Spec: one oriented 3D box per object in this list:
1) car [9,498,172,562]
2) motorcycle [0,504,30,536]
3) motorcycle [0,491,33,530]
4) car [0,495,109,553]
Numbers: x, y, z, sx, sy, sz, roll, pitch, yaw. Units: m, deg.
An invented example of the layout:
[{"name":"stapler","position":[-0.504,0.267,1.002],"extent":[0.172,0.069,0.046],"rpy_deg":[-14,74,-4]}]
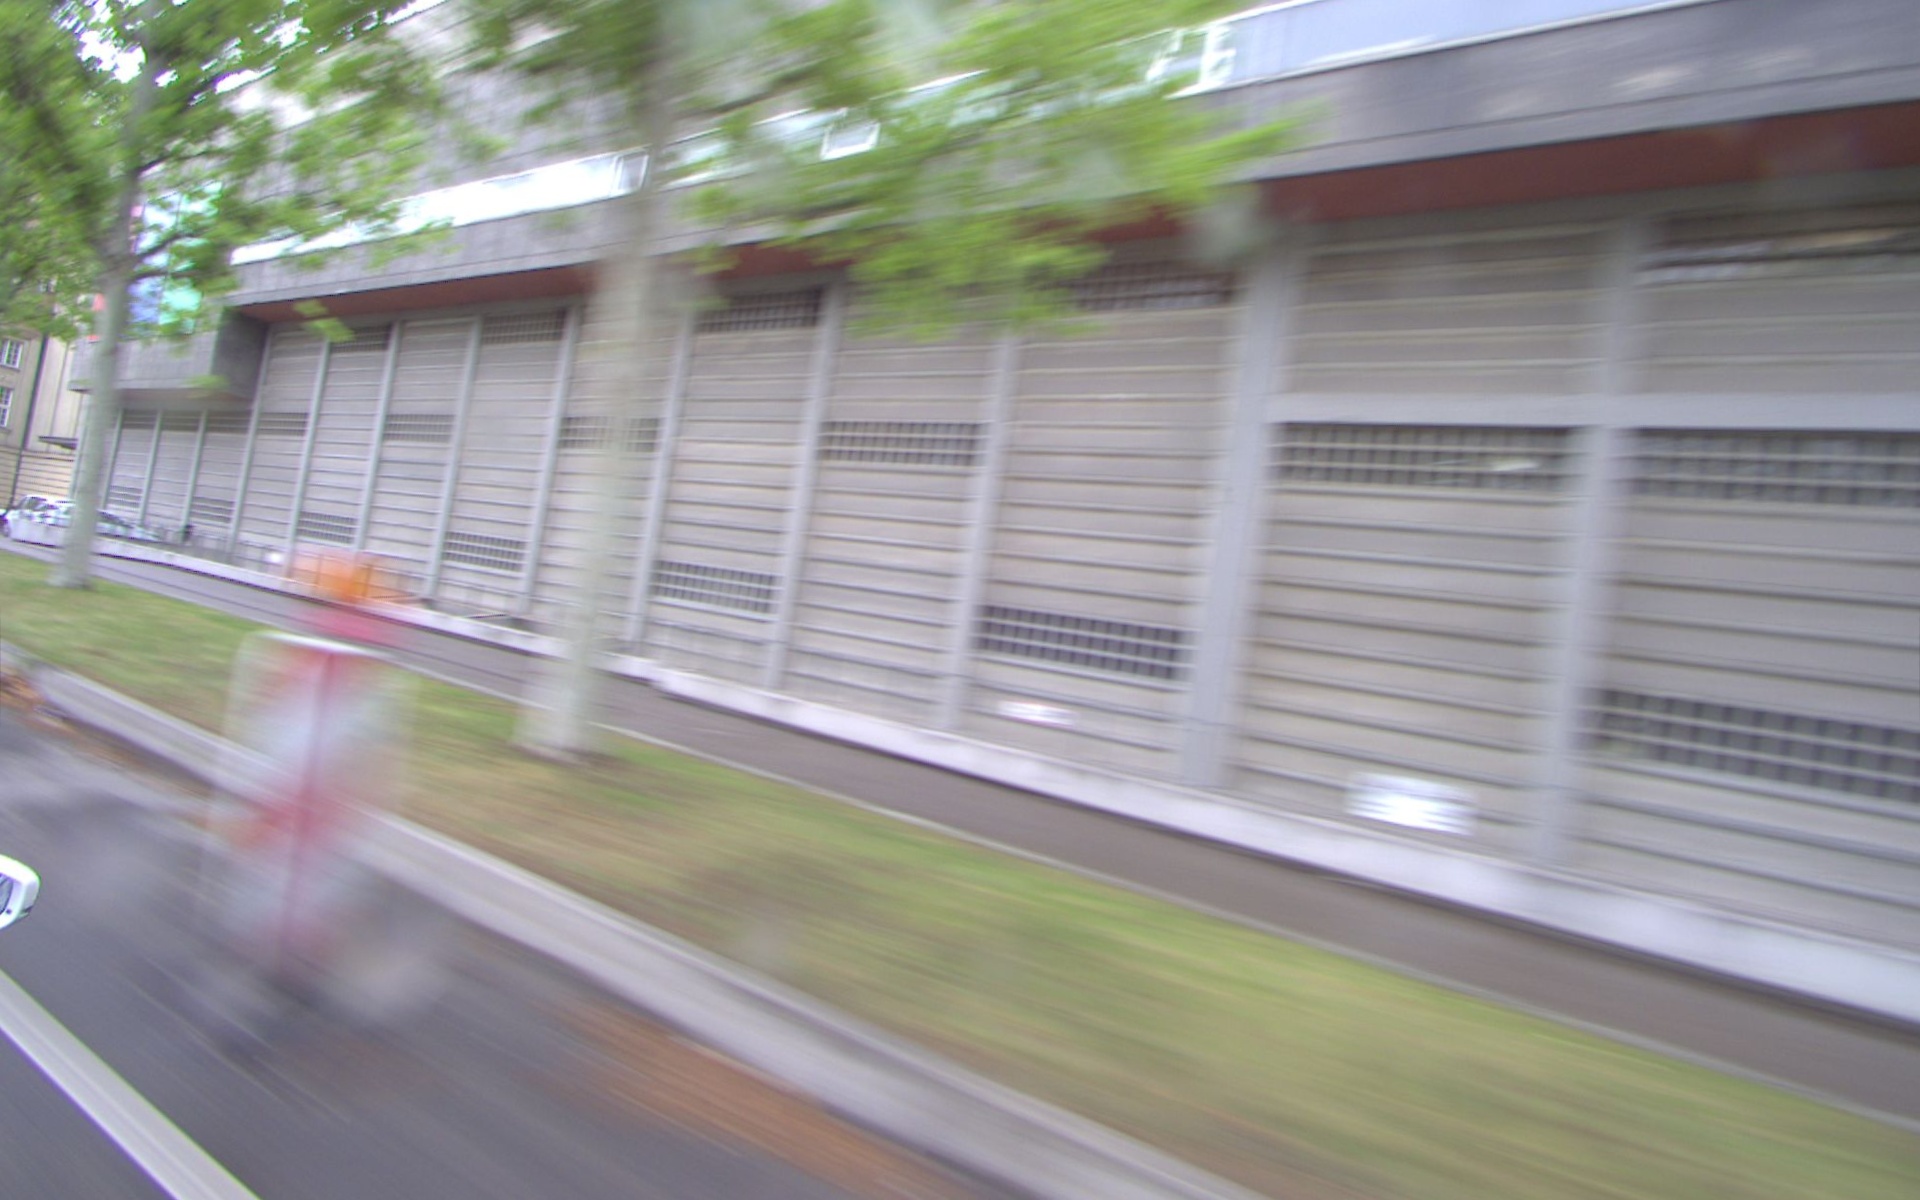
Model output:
[{"name":"car","position":[-31.540,-2.508,36.601],"extent":[1.902,1.576,3.997],"rpy_deg":[5,-4,32]},{"name":"motorcycle","position":[-55.649,-4.859,57.471],"extent":[1.133,1.545,3.363],"rpy_deg":[6,-7,33]},{"name":"motorcycle","position":[-57.199,-5.469,59.300],"extent":[1.133,2.034,3.359],"rpy_deg":[6,-5,33]},{"name":"car","position":[-37.584,-3.173,41.636],"extent":[5.013,1.778,1.999],"rpy_deg":[6,-4,32]}]
